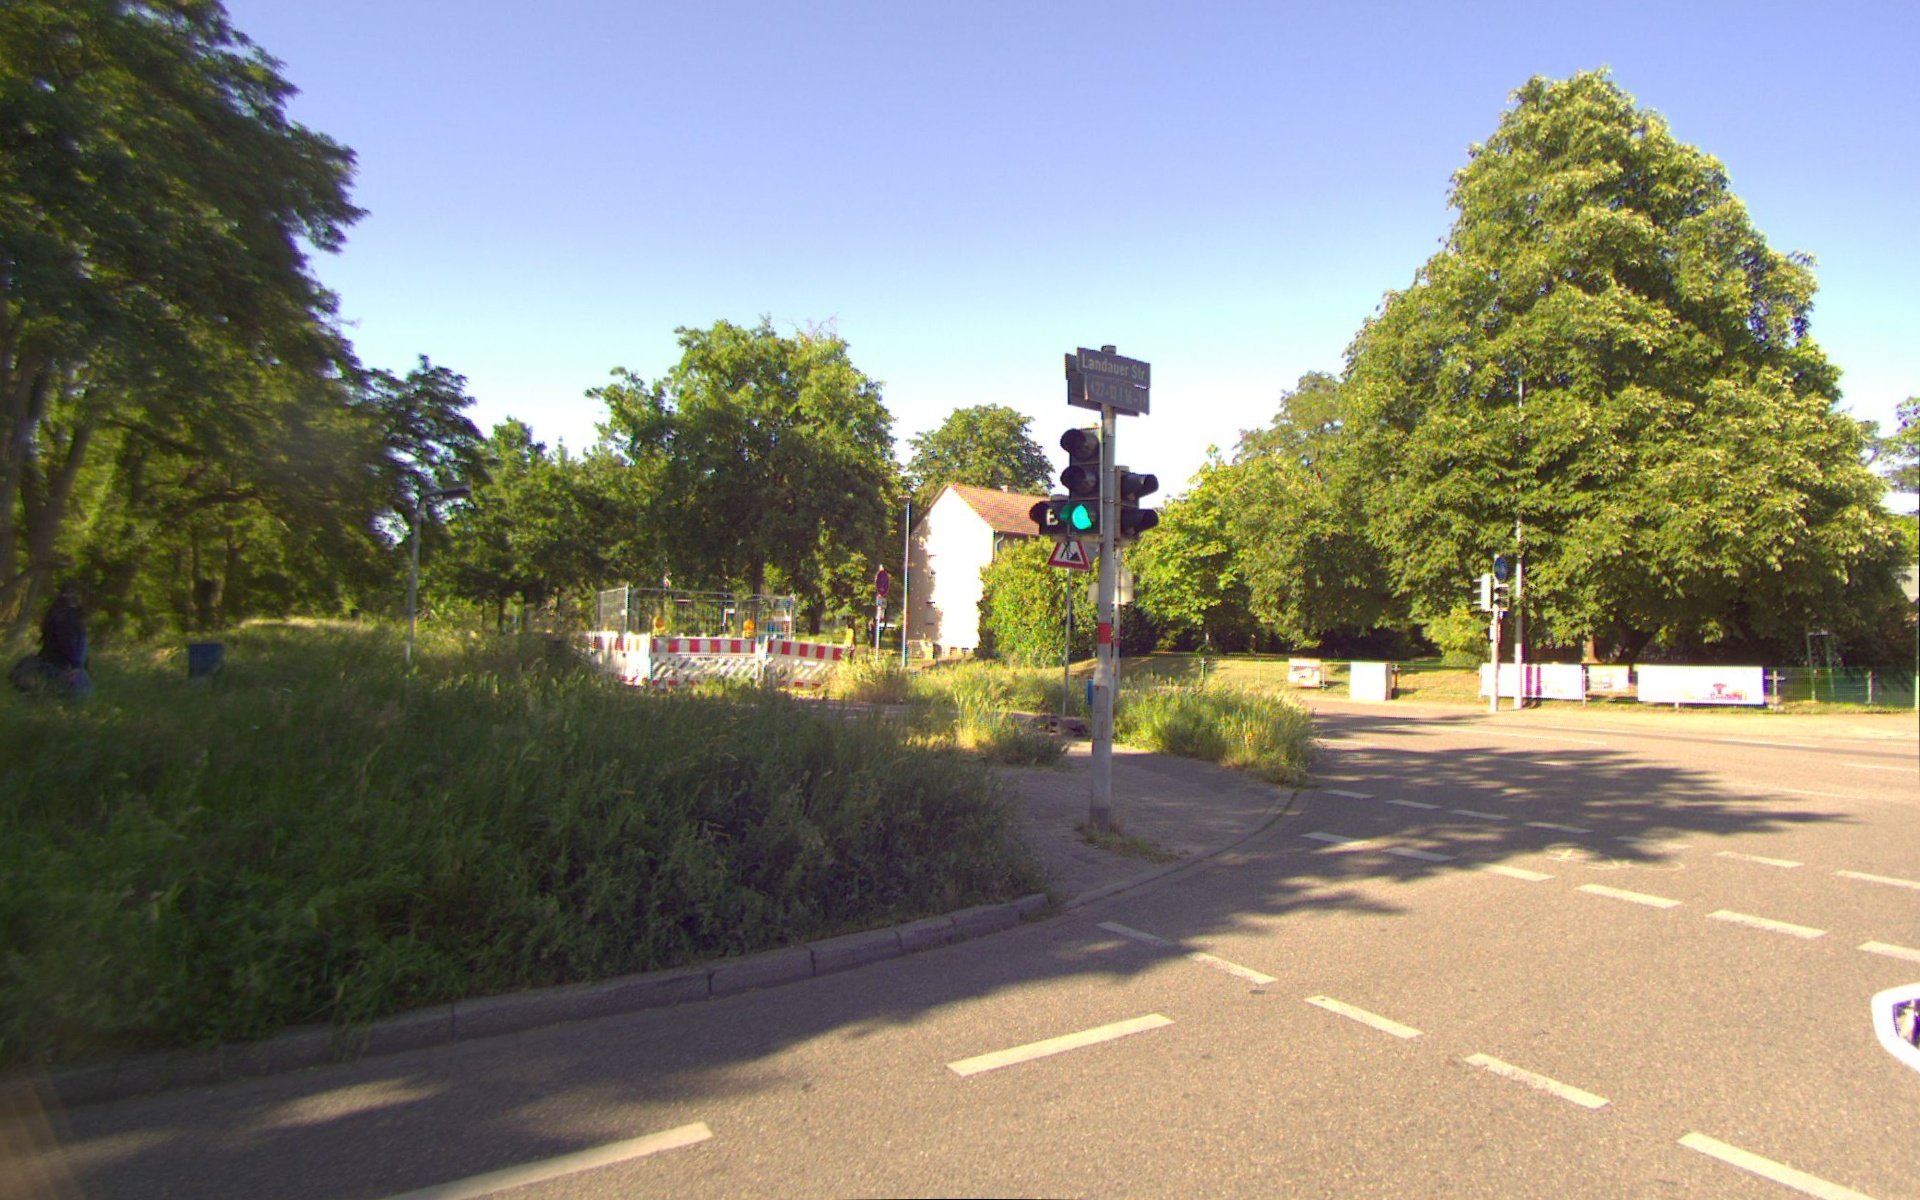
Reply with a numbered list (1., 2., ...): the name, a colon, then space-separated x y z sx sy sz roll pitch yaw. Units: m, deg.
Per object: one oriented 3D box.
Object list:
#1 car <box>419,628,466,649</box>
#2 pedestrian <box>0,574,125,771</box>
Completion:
1. car: -52.129 3.906 101.225 3.959 1.951 1.981 2 0 -34
2. pedestrian: -7.955 0.615 8.931 0.640 1.655 0.794 2 0 -30
